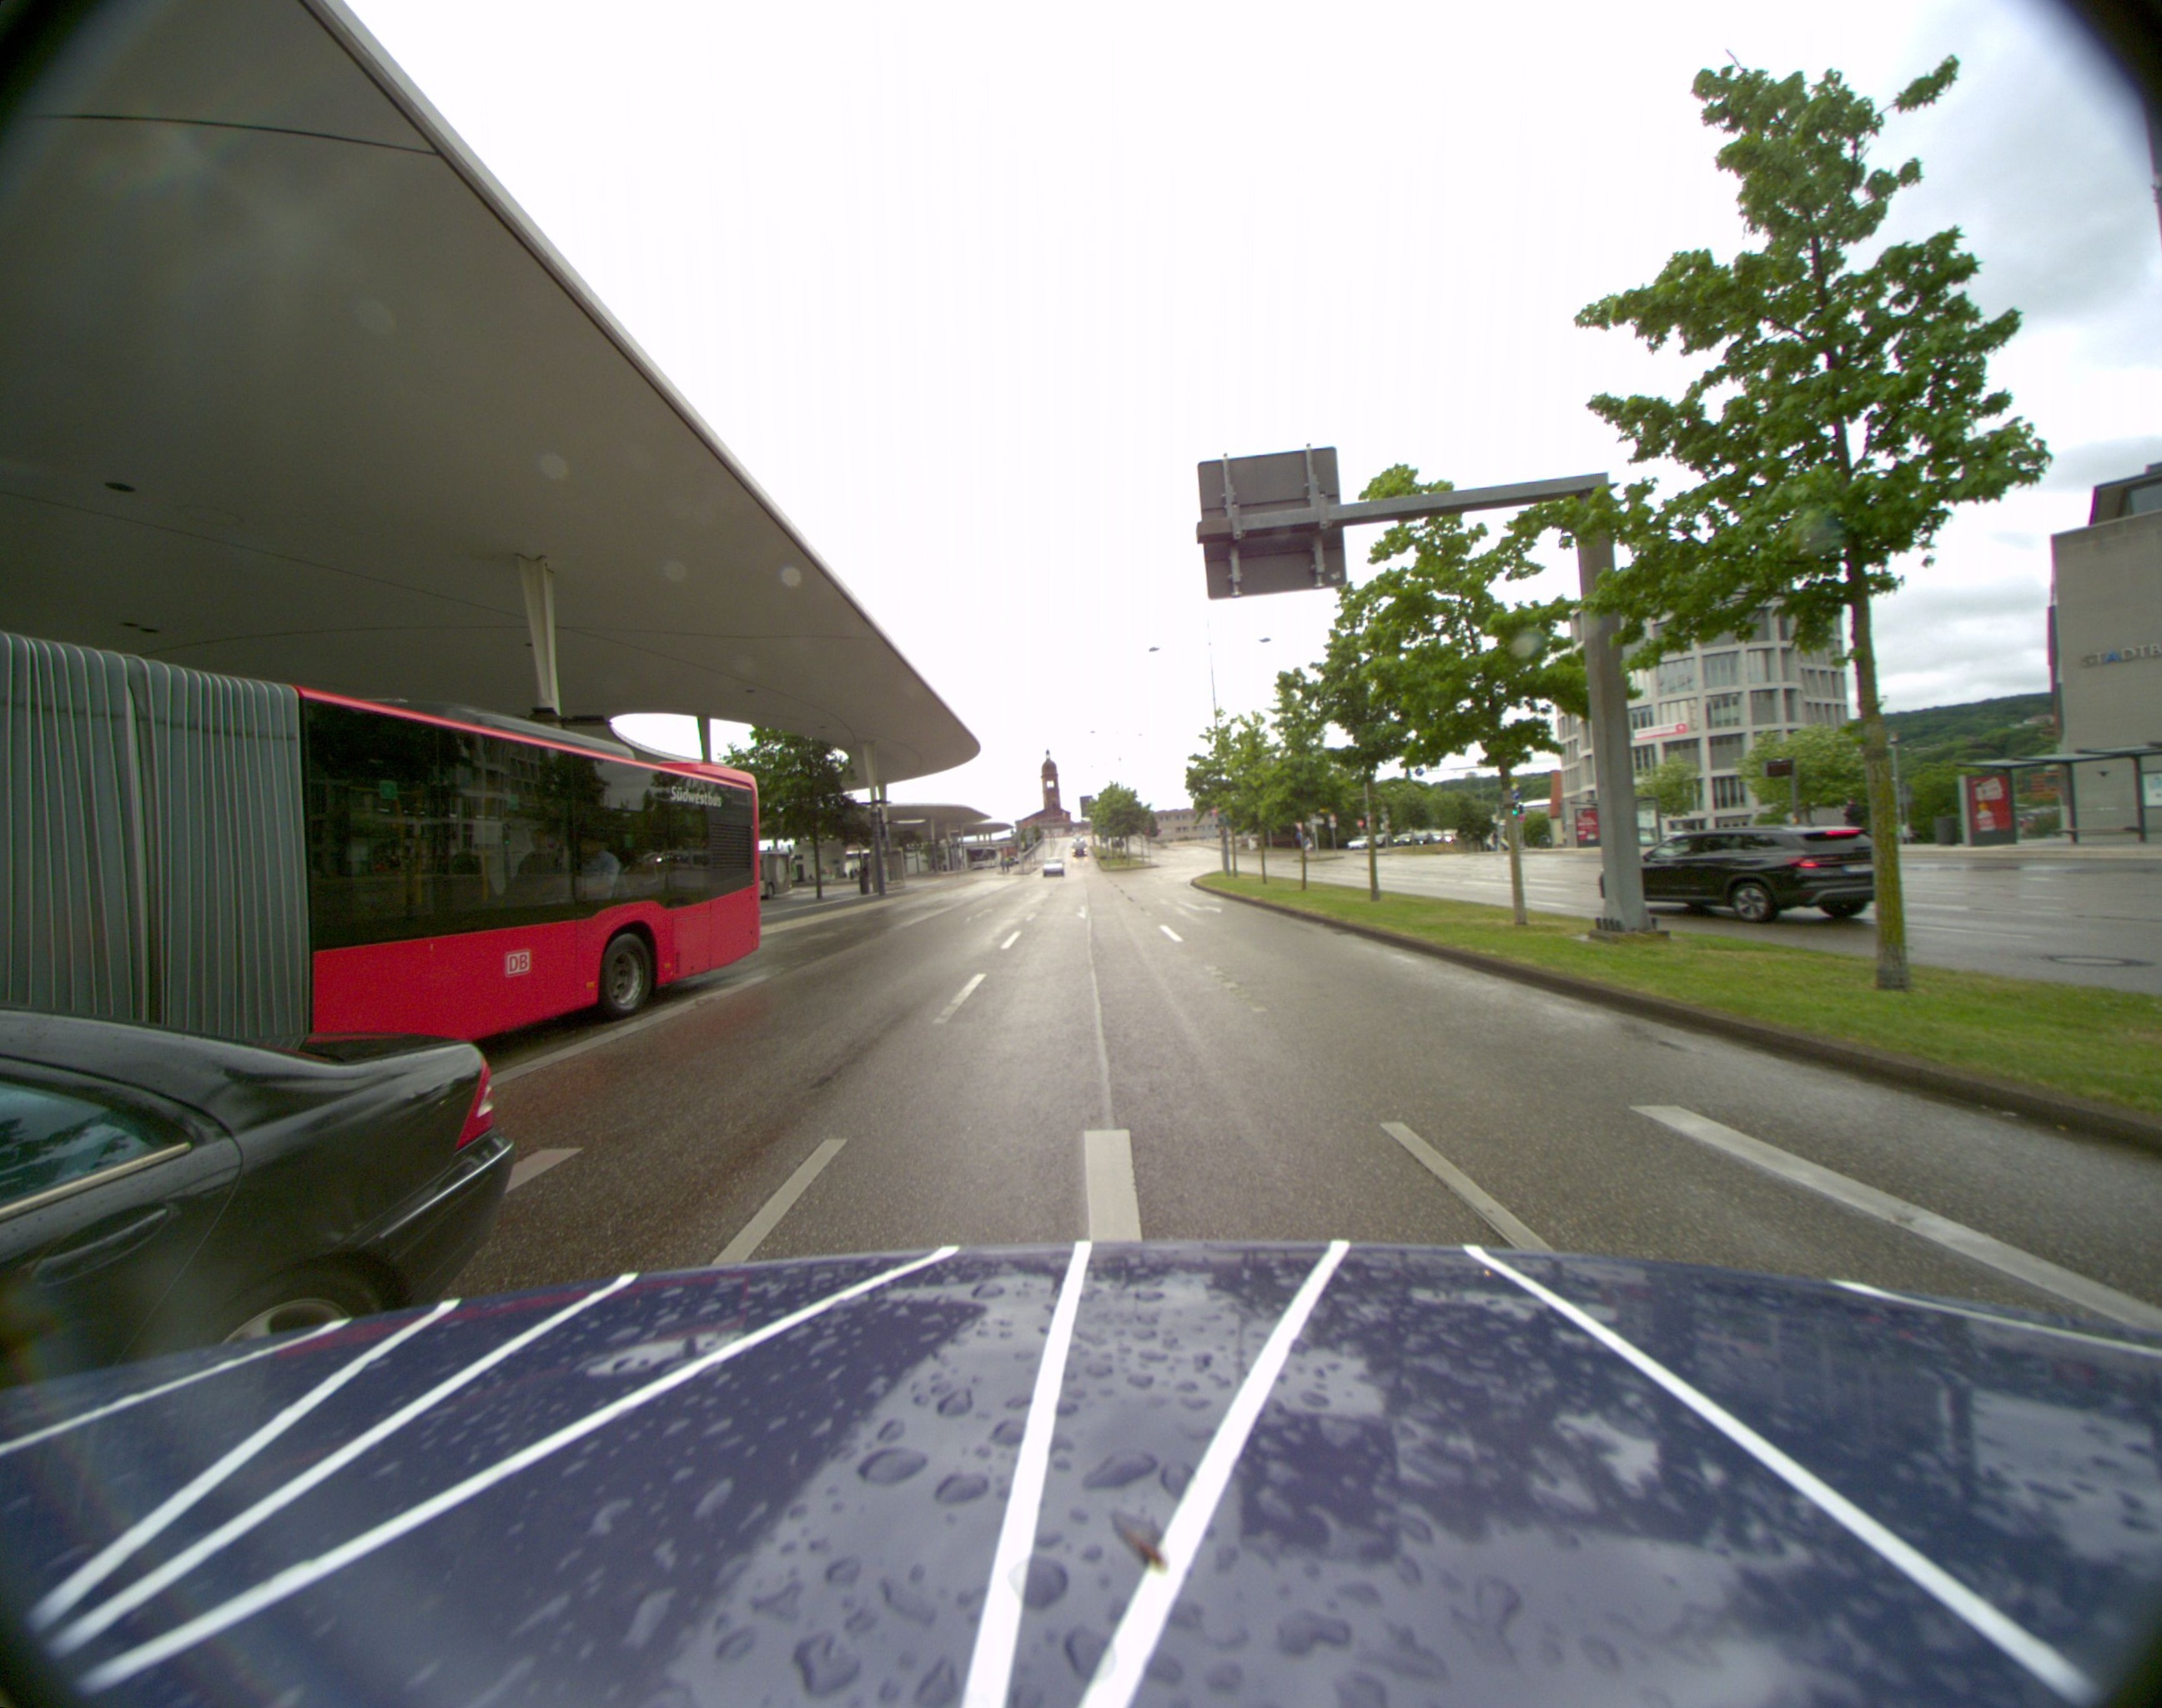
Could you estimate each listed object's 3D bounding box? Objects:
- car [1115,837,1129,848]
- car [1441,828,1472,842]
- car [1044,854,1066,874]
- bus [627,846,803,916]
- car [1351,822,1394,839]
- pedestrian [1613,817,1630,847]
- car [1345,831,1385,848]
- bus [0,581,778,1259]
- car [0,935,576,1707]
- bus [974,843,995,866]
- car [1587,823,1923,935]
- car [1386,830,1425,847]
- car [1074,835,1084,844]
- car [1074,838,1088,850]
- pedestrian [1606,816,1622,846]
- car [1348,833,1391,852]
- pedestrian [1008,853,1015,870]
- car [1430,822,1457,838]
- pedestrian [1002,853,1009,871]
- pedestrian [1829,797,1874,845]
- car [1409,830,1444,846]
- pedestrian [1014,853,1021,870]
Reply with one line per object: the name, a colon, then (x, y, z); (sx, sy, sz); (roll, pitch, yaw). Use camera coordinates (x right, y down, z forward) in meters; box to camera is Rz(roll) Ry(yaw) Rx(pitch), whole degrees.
car: (6.696, -1.855, 123.590); (1.998, 1.765, 4.000); (-3, 0, 1)
car: (50.882, -2.605, 103.111); (2.194, 1.702, 4.918); (-3, 0, 6)
car: (-2.079, 0.798, 60.988); (1.627, 1.450, 3.735); (-3, 0, -1)
bus: (-19.883, 1.231, 42.728); (3.003, 3.088, 12.356); (-6, 0, 3)
car: (40.730, -3.243, 106.360); (2.315, 2.002, 5.021); (-3, 1, -41)
pedestrian: (30.050, -1.227, 42.255); (0.520, 1.625, 0.536); (-2, 1, 1)
car: (32.281, -1.659, 86.327); (4.925, 1.702, 2.190); (-3, 1, -42)
bus: (-6.153, 0.353, 7.608); (2.750, 3.155, 8.120); (-3, 0, 1)
car: (-2.839, 1.137, 0.533); (1.750, 1.471, 4.435); (-5, 1, 2)
bus: (-14.308, 0.092, 113.274); (2.675, 3.111, 9.712); (-3, 0, -5)
car: (12.006, 0.383, 14.078); (1.827, 1.630, 4.597); (-3, 0, -5)
car: (37.457, -1.809, 87.662); (4.925, 1.702, 2.190); (-3, 1, -43)
car: (-0.309, -2.716, 145.839); (1.704, 1.656, 3.998); (-3, 1, -2)
car: (-0.064, -1.390, 104.723); (1.704, 1.656, 3.998); (-3, 1, -2)
pedestrian: (29.498, -1.264, 42.020); (0.504, 1.625, 0.502); (-2, 1, 1)
car: (30.934, -1.234, 81.398); (4.925, 1.702, 2.190); (-3, 1, -43)
pedestrian: (-6.711, 0.721, 73.053); (0.557, 1.614, 0.552); (-3, 1, 1)
car: (46.824, -3.073, 98.116); (1.994, 2.002, 4.008); (-2, 0, 44)
pedestrian: (-7.281, 0.768, 73.338); (0.576, 1.614, 0.588); (-3, 1, 1)
pedestrian: (29.115, -1.241, 28.730); (0.787, 1.750, 0.972); (-3, 1, -28)
car: (42.307, -1.954, 92.987); (4.925, 1.702, 2.190); (-3, 1, -43)
pedestrian: (-6.100, 0.699, 72.778); (0.557, 1.614, 0.552); (-3, 1, 1)
